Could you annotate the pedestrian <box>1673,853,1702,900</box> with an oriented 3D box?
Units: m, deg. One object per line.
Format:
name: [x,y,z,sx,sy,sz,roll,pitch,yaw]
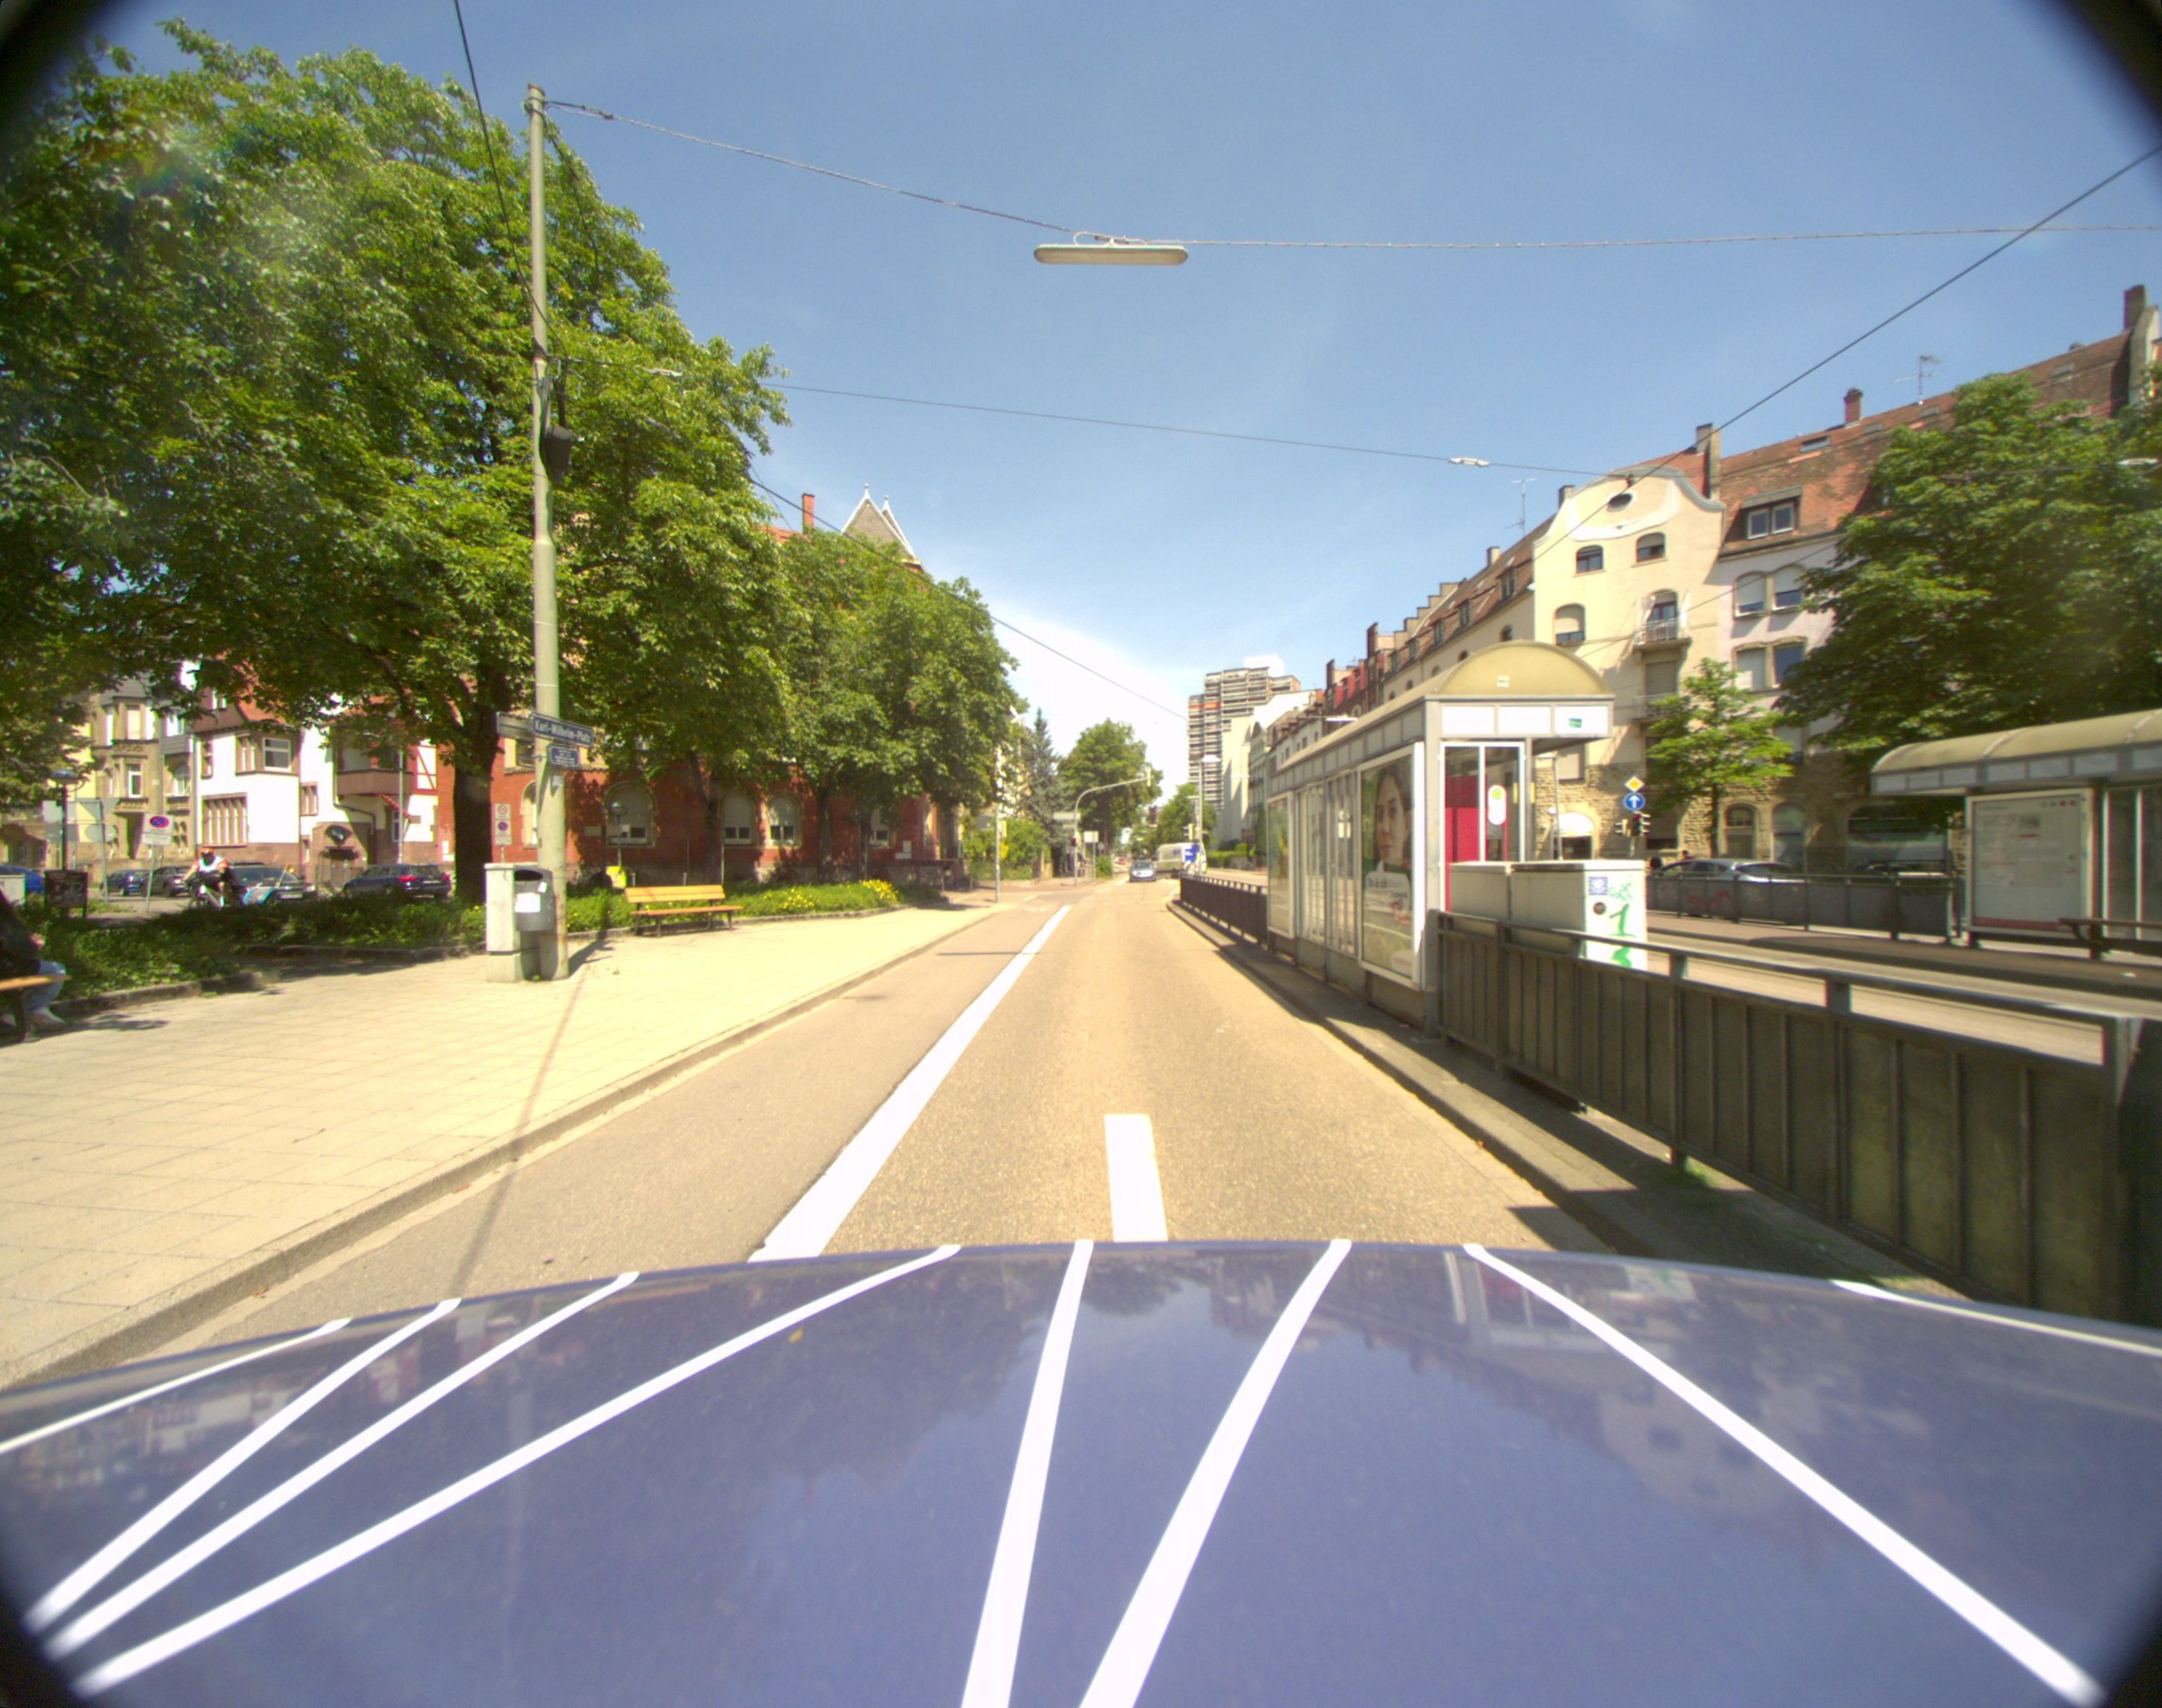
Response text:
pedestrian: [20.289,0.743,25.423,0.594,1.542,0.474,0,0,-1]

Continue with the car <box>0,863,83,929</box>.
car: [-32.842,1.305,22.026,1.934,1.869,4.315,-2,1,23]

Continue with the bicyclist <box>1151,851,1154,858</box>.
bicyclist: [18.514,0.173,196.929,0.644,1.864,0.716,-2,1,-2]

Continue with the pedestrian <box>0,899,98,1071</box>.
pedestrian: [-7.741,0.910,5.416,0.566,1.136,0.725,0,1,-16]

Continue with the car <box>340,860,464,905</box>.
car: [-27.041,1.135,30.286,4.299,1.608,1.941,-2,1,23]

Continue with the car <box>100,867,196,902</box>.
car: [-48.420,1.578,39.434,4.299,1.608,1.941,-2,1,23]

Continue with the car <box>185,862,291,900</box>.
car: [-39.587,1.279,35.665,4.299,1.608,1.941,-2,1,23]

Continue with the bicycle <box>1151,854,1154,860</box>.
bicycle: [18.544,0.694,196.947,0.644,1.503,1.970,-2,1,-2]

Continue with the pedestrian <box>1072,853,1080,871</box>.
pedestrian: [-0.499,0.772,72.343,0.702,1.645,0.665,0,0,1]

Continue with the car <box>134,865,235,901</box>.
car: [-44.147,1.436,37.411,4.299,1.608,1.941,-2,1,23]

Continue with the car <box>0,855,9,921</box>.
car: [-37.658,1.205,23.794,1.934,2.178,4.315,-2,1,23]

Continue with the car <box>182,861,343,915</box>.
car: [-27.161,1.130,25.227,4.515,1.608,1.941,-2,1,20]

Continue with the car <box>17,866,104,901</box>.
car: [-59.176,1.718,44.079,4.299,1.862,1.941,-2,1,23]

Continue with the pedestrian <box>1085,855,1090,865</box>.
pedestrian: [1.044,1.037,127.923,0.686,1.732,0.660,-2,1,3]

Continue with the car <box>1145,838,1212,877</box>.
car: [7.154,0.256,56.594,2.276,2.658,5.816,-3,1,-23]

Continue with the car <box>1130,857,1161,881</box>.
car: [4.309,0.986,50.821,1.895,1.372,4.001,-2,1,5]

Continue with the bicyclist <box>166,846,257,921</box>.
bicyclist: [-20.821,0.678,18.232,0.875,1.686,1.252,-3,1,-20]

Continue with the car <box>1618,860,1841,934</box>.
car: [14.840,0.901,17.724,1.812,1.386,3.999,-2,1,1]

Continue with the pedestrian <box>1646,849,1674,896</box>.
pedestrian: [20.127,0.640,26.428,0.594,1.637,0.474,0,0,1]

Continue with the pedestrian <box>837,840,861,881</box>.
pedestrian: [-10.430,0.297,34.202,0.840,1.813,0.672,-1,1,-37]

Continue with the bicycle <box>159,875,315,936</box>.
bicycle: [-21.185,1.225,19.255,0.956,1.256,3.738,-3,1,-20]

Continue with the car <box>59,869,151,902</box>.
car: [-53.021,1.735,41.269,4.299,1.608,1.941,-2,1,23]
